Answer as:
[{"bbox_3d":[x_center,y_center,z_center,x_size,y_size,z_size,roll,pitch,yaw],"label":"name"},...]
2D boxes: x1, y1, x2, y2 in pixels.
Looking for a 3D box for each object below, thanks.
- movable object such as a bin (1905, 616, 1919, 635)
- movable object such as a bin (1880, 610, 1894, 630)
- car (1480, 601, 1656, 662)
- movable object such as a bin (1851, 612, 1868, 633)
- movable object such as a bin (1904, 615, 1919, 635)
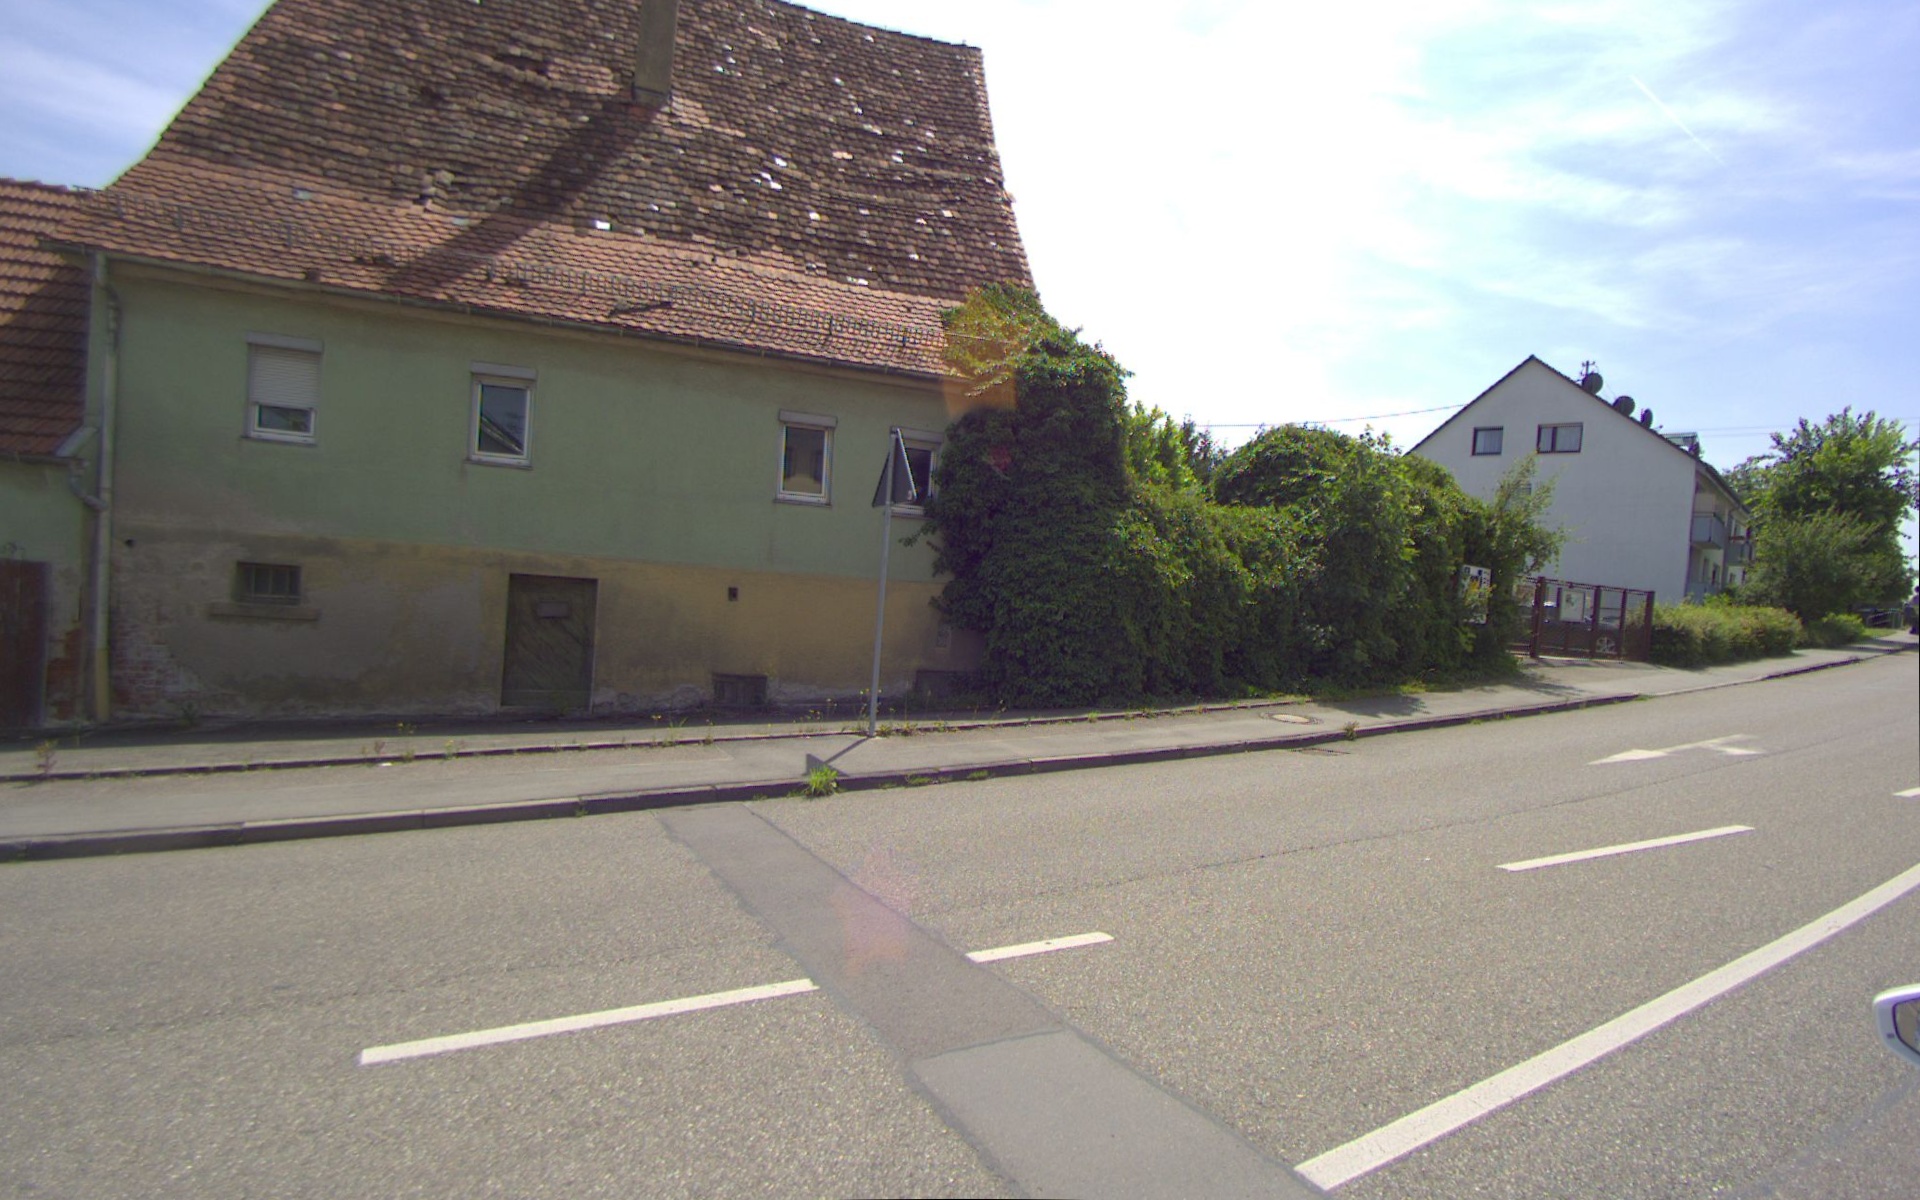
[{"bbox_3d":[48.038,1.265,50.577,0.637,0.930,0.559,1,2,-38],"label":"movable object such as a bin"},{"bbox_3d":[52.168,1.121,56.523,0.511,1.119,0.526,3,2,45],"label":"movable object such as a bin"},{"bbox_3d":[17.333,0.851,28.731,3.944,1.406,1.988,4,2,44],"label":"car"},{"bbox_3d":[50.521,1.262,56.413,0.644,1.111,0.598,1,2,-38],"label":"movable object such as a bin"},{"bbox_3d":[47.166,1.234,49.626,0.680,0.930,0.614,1,2,-38],"label":"movable object such as a bin"}]
